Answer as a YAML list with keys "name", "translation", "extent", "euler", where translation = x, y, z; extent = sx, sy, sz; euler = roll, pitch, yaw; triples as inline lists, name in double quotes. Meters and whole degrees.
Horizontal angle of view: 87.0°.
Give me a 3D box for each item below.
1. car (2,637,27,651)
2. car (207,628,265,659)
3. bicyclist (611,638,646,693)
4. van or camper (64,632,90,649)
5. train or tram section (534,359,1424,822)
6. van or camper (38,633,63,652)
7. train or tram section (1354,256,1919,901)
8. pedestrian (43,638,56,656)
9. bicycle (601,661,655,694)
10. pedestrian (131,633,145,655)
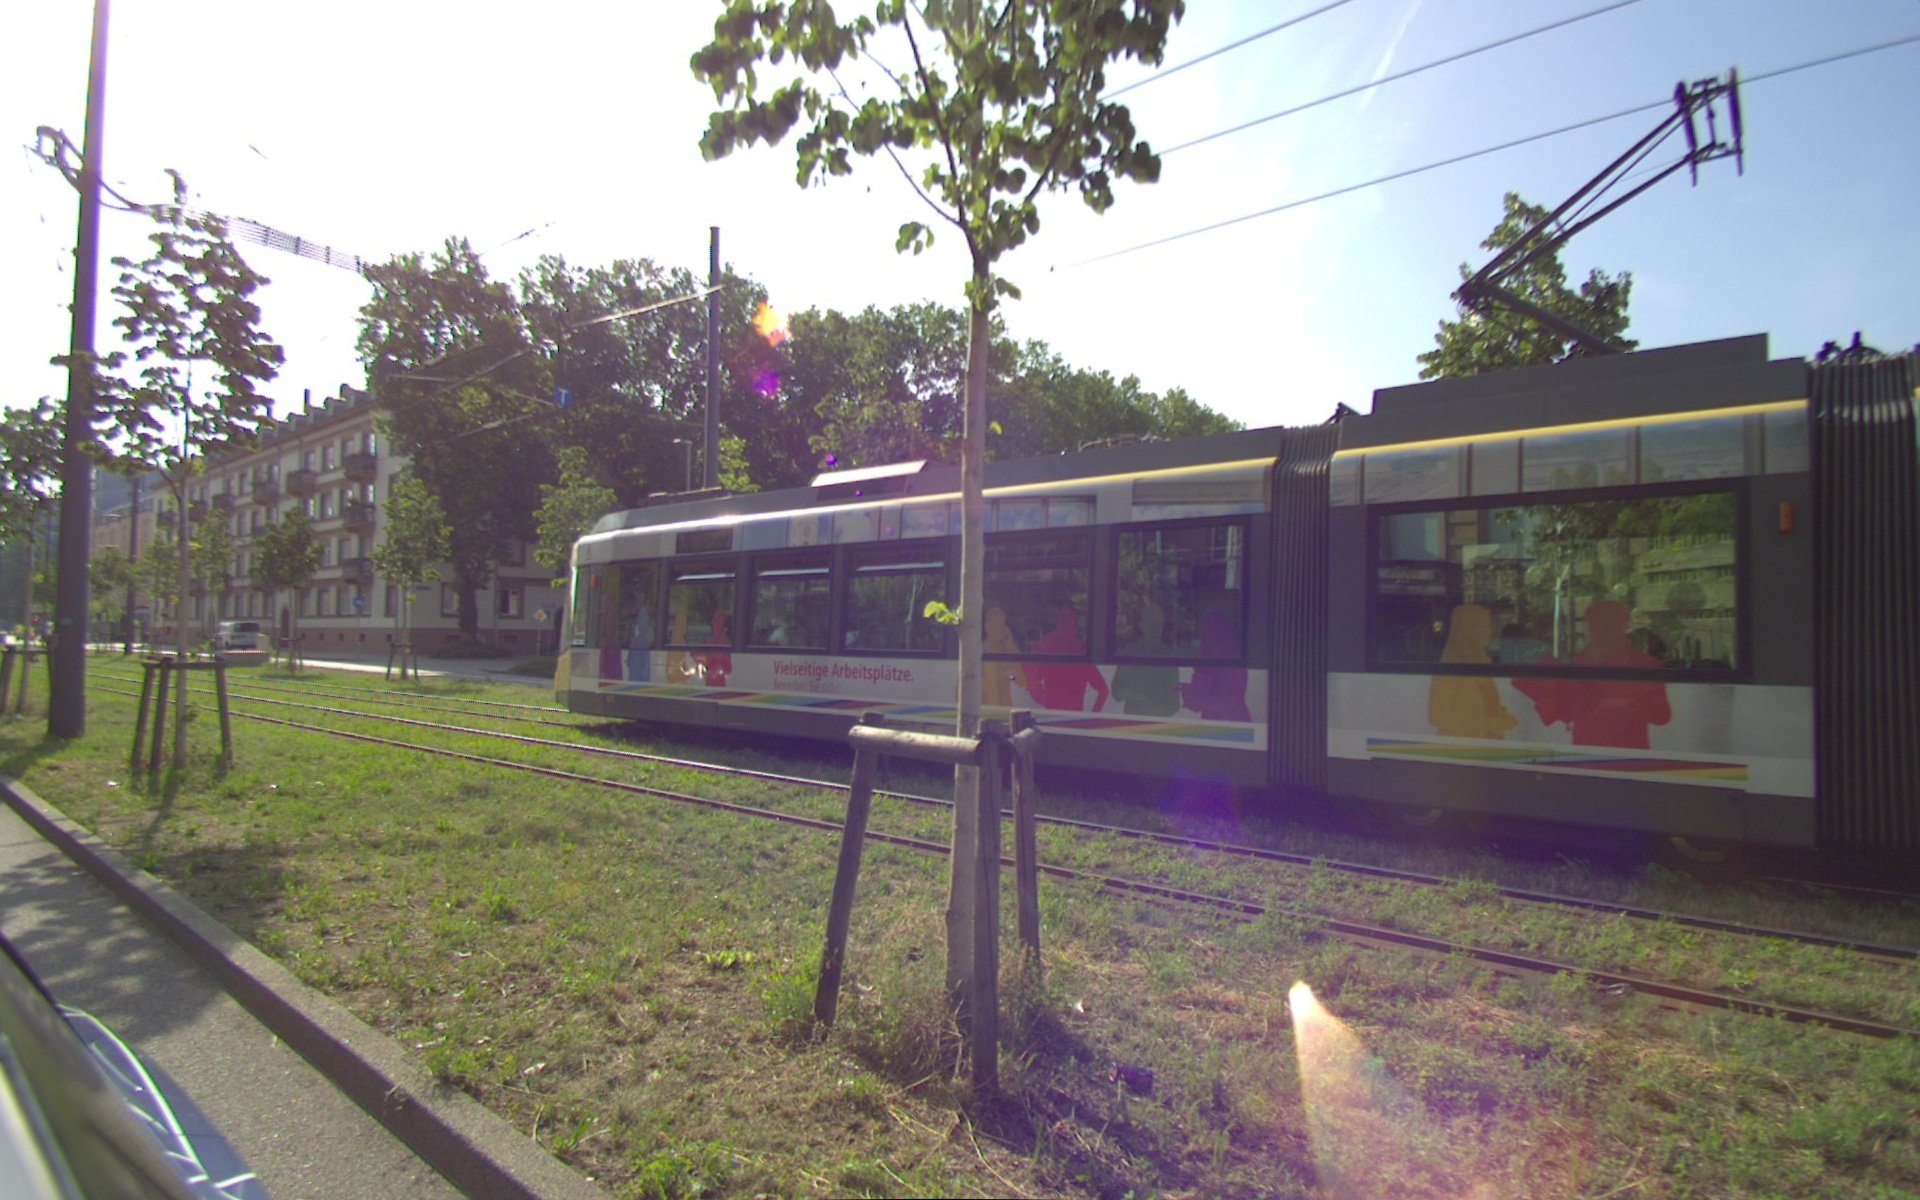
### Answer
- name: "car"
  translation: [-127.203, 5.901, 136.157]
  extent: [5.046, 1.909, 1.972]
  euler: [-2, -3, 43]
- name: "car"
  translation: [-48.080, 2.862, 67.151]
  extent: [5.149, 1.932, 1.973]
  euler: [-2, -1, 41]
- name: "bicyclist"
  translation: [-10.892, 2.145, 33.218]
  extent: [0.918, 1.749, 0.640]
  euler: [-1, -4, 40]
- name: "van or camper"
  translation: [-104.593, 4.835, 119.881]
  extent: [4.001, 1.983, 1.908]
  euler: [-2, -3, 44]
- name: "train or tram section"
  translation: [-1.024, 0.034, 13.039]
  extent: [12.468, 3.614, 2.868]
  euler: [-1, -3, 41]
- name: "van or camper"
  translation: [-139.610, 6.473, 155.309]
  extent: [5.349, 2.823, 1.973]
  euler: [-1, -3, 40]
- name: "train or tram section"
  translation: [8.820, -0.113, 4.586]
  extent: [12.925, 3.614, 2.868]
  euler: [-1, -3, 41]
- name: "pedestrian"
  translation: [-84.739, 4.380, 94.179]
  extent: [0.681, 1.595, 0.796]
  euler: [-2, -4, 45]
- name: "bicycle"
  translation: [-10.902, 2.535, 33.185]
  extent: [2.077, 0.968, 0.655]
  euler: [-1, -4, 40]
- name: "pedestrian"
  translation: [-78.160, 4.207, 96.257]
  extent: [1.156, 2.084, 0.833]
  euler: [-2, -2, 41]
